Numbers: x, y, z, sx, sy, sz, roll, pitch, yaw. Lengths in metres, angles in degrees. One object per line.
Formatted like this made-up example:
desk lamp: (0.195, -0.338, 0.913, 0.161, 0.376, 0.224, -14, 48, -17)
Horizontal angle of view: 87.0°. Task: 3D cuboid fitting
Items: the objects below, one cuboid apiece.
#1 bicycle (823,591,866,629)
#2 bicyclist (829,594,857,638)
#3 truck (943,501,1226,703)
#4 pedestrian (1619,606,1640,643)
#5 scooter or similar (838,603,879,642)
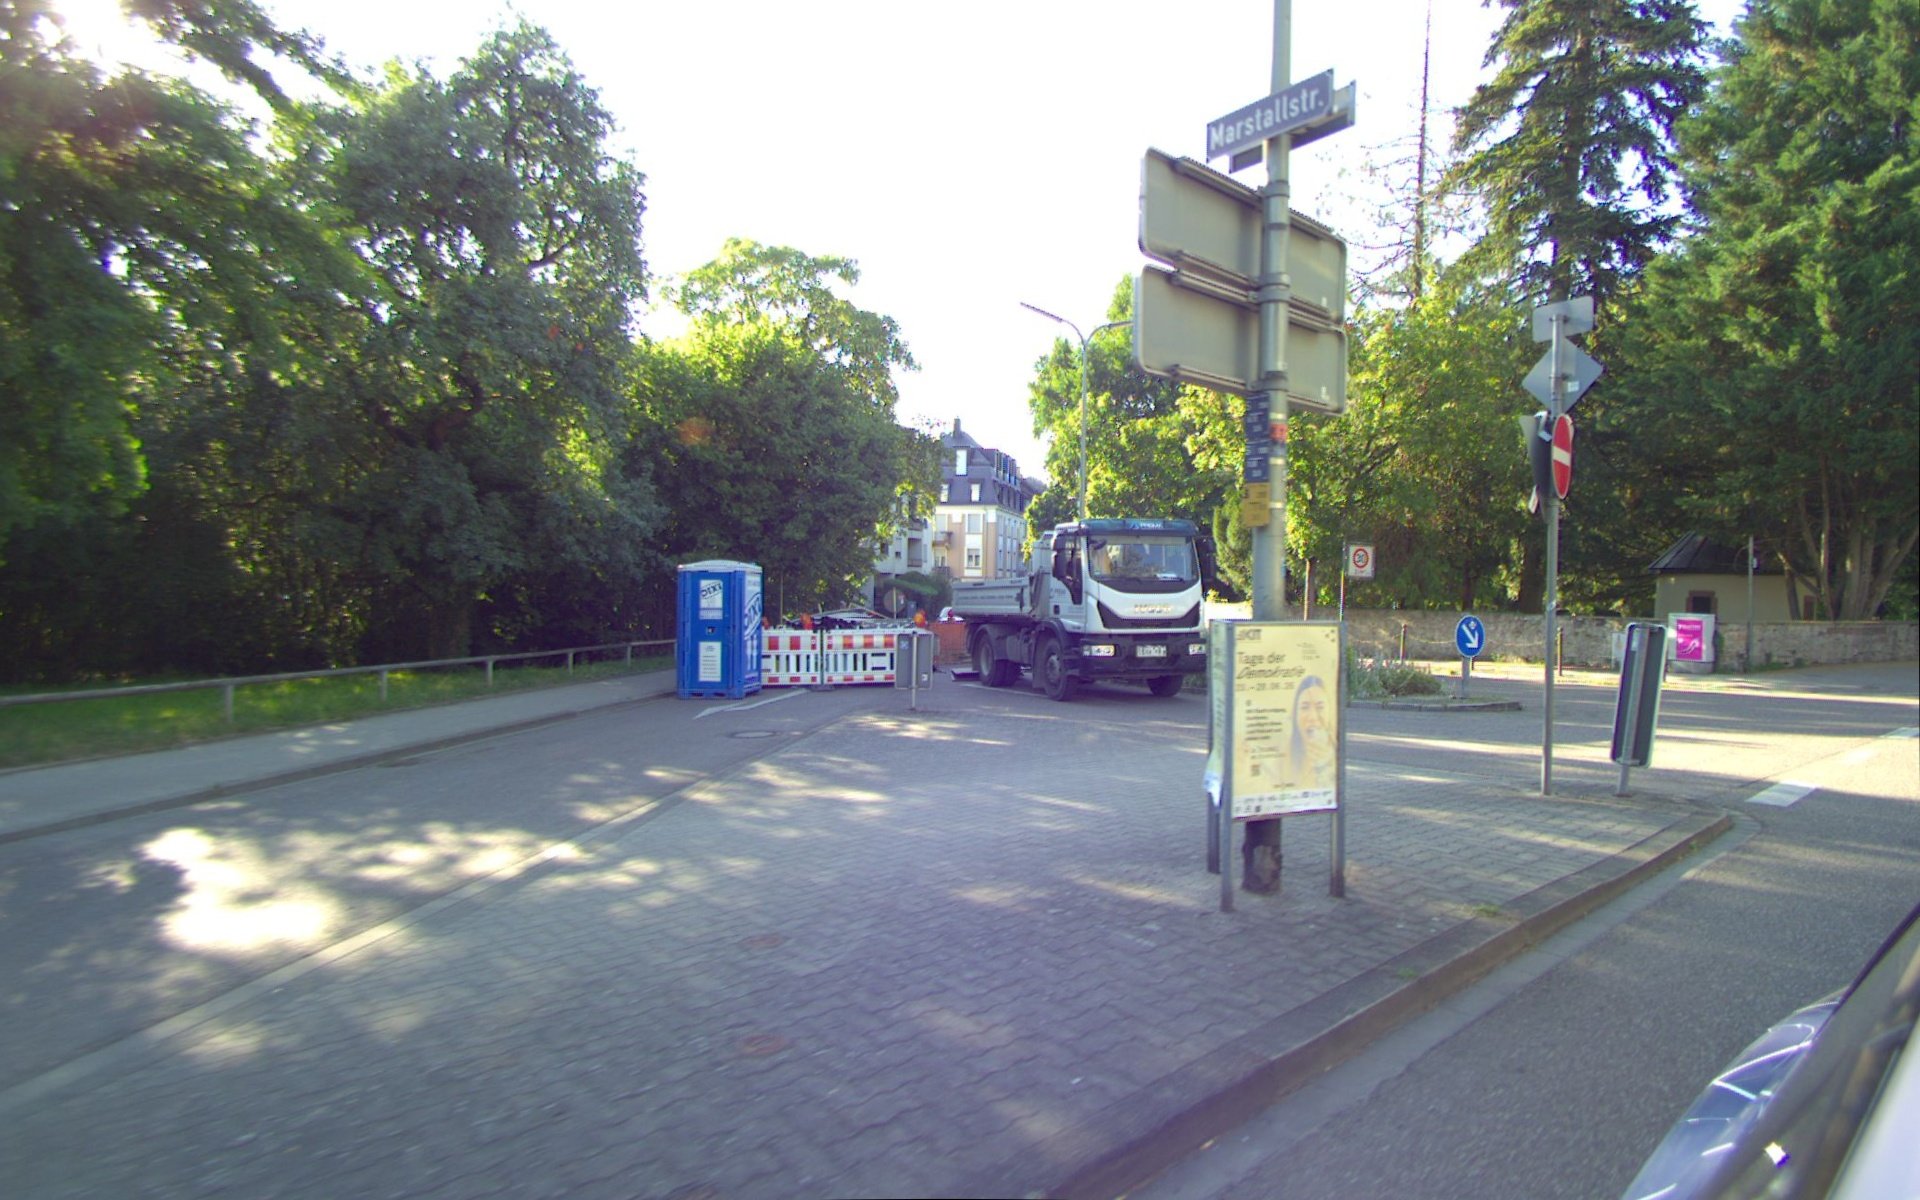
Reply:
bicycle: (-4.089, 0.353, 36.150, 0.751, 1.222, 2.835, 4, 0, 8)
bicyclist: (-4.147, 0.561, 35.922, 0.748, 1.504, 0.642, 4, 0, 8)
truck: (1.852, 0.062, 18.194, 2.382, 2.932, 6.621, 0, -1, -19)
pedestrian: (32.276, 1.196, 48.800, 0.585, 1.752, 0.592, 0, -2, -22)
scooter or similar: (-3.814, 0.830, 38.138, 1.135, 1.341, 1.179, 6, 0, 8)
